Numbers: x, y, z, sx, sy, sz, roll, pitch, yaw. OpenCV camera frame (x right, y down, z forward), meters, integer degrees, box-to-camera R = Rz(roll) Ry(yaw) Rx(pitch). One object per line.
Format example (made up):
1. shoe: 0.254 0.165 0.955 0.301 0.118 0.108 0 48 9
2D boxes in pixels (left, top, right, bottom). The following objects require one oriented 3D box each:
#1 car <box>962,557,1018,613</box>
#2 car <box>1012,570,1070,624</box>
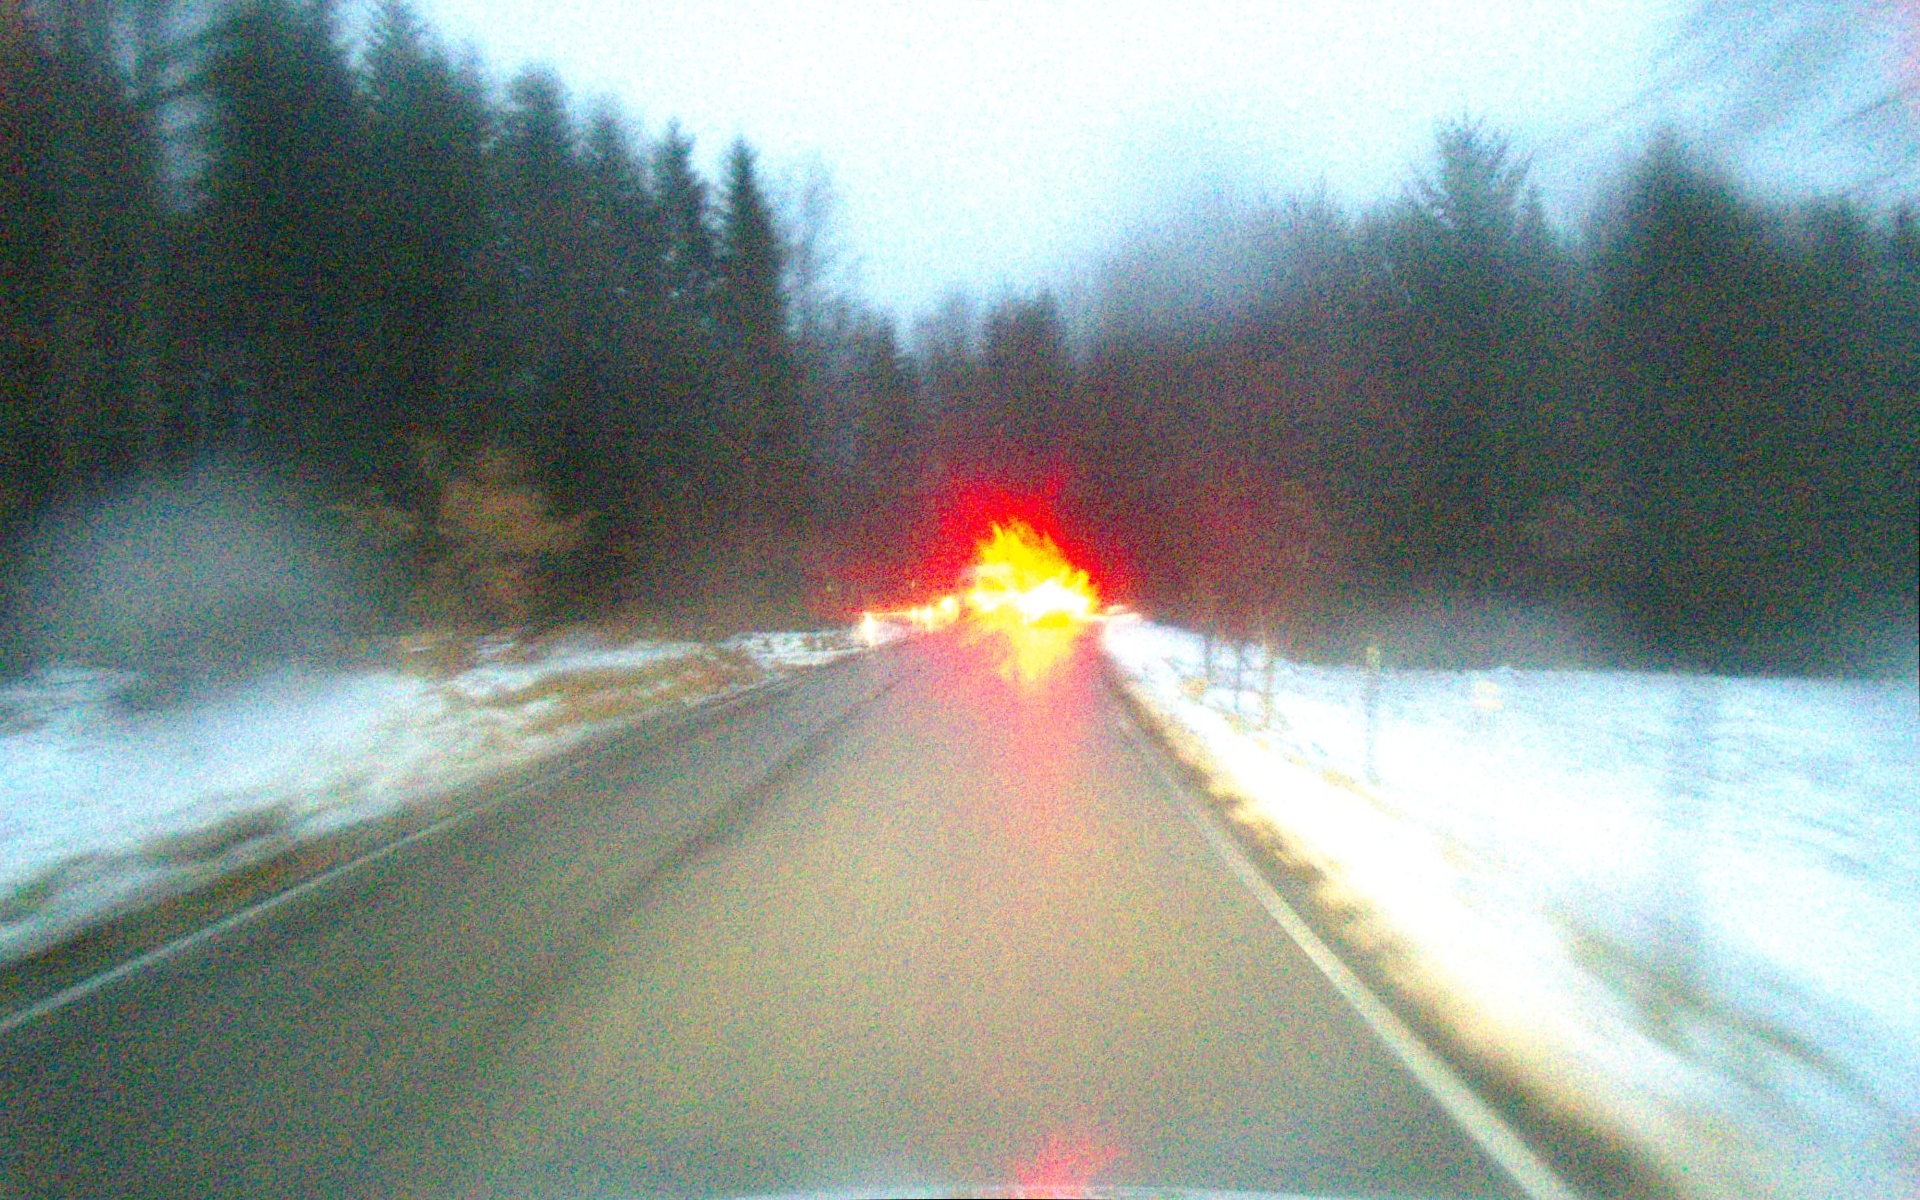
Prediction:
1. car: 1.491 -0.759 84.458 2.209 2.691 4.999 -1 0 -7
2. car: 3.197 -0.135 65.838 1.953 2.087 3.998 0 1 -2
